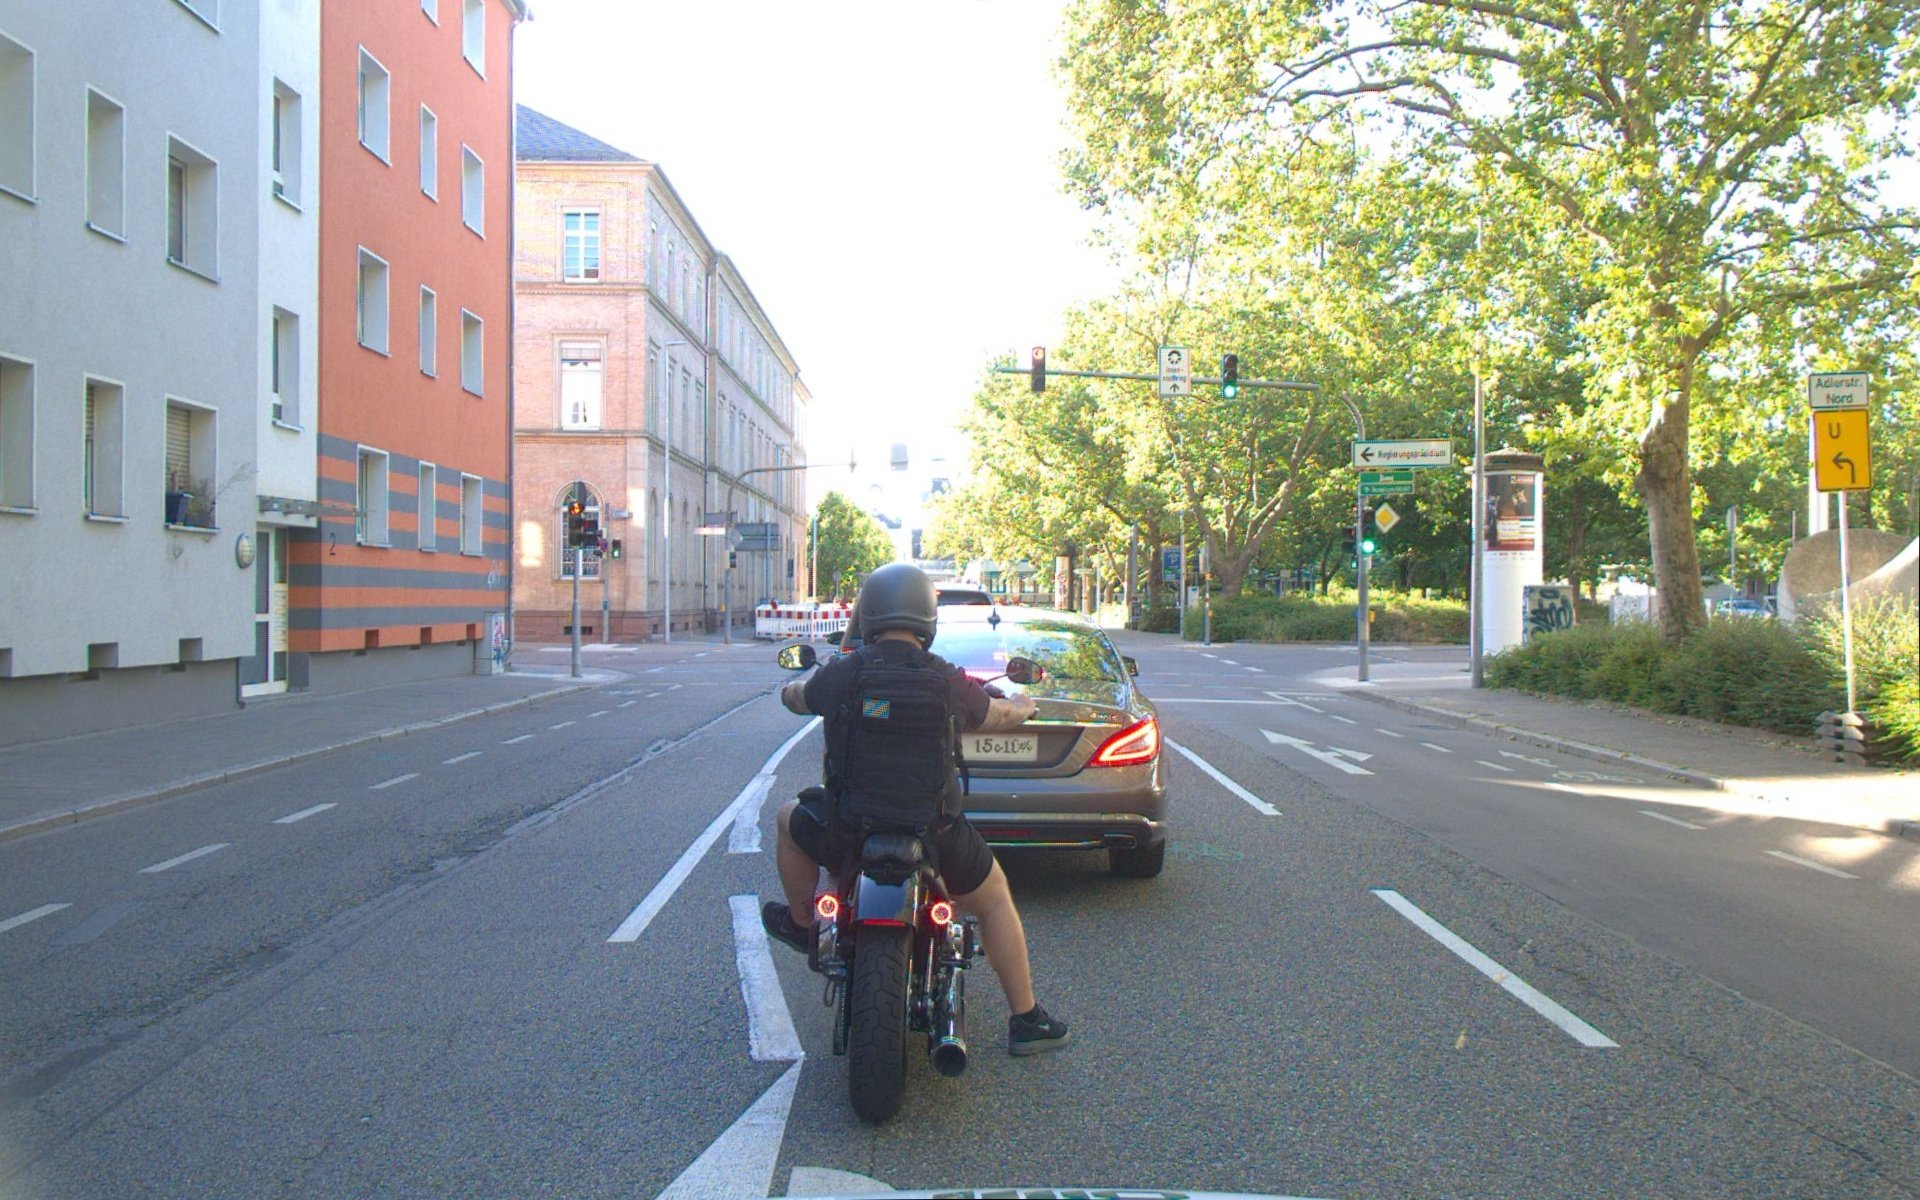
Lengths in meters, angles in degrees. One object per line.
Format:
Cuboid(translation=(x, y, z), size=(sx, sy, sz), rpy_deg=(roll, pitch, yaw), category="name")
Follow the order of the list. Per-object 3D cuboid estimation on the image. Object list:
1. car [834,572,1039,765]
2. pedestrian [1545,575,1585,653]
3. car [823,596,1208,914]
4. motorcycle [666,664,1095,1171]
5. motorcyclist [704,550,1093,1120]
Cuboid(translation=(-0.237, 0.626, 16.925), size=(1.825, 1.707, 3.999), rpy_deg=(1, 0, -1), category="car")
Cuboid(translation=(14.307, 0.324, 39.133), size=(0.720, 1.809, 0.730), rpy_deg=(1, -1, 8), category="pedestrian")
Cuboid(translation=(0.237, 0.734, 9.653), size=(1.785, 1.462, 3.805), rpy_deg=(1, 0, -1), category="car")
Cuboid(translation=(-0.125, 0.875, 5.480), size=(1.094, 1.228, 2.213), rpy_deg=(1, 0, 5), category="motorcycle")
Cuboid(translation=(-0.138, 0.665, 5.260), size=(1.076, 1.593, 1.072), rpy_deg=(1, 0, 5), category="motorcyclist")
